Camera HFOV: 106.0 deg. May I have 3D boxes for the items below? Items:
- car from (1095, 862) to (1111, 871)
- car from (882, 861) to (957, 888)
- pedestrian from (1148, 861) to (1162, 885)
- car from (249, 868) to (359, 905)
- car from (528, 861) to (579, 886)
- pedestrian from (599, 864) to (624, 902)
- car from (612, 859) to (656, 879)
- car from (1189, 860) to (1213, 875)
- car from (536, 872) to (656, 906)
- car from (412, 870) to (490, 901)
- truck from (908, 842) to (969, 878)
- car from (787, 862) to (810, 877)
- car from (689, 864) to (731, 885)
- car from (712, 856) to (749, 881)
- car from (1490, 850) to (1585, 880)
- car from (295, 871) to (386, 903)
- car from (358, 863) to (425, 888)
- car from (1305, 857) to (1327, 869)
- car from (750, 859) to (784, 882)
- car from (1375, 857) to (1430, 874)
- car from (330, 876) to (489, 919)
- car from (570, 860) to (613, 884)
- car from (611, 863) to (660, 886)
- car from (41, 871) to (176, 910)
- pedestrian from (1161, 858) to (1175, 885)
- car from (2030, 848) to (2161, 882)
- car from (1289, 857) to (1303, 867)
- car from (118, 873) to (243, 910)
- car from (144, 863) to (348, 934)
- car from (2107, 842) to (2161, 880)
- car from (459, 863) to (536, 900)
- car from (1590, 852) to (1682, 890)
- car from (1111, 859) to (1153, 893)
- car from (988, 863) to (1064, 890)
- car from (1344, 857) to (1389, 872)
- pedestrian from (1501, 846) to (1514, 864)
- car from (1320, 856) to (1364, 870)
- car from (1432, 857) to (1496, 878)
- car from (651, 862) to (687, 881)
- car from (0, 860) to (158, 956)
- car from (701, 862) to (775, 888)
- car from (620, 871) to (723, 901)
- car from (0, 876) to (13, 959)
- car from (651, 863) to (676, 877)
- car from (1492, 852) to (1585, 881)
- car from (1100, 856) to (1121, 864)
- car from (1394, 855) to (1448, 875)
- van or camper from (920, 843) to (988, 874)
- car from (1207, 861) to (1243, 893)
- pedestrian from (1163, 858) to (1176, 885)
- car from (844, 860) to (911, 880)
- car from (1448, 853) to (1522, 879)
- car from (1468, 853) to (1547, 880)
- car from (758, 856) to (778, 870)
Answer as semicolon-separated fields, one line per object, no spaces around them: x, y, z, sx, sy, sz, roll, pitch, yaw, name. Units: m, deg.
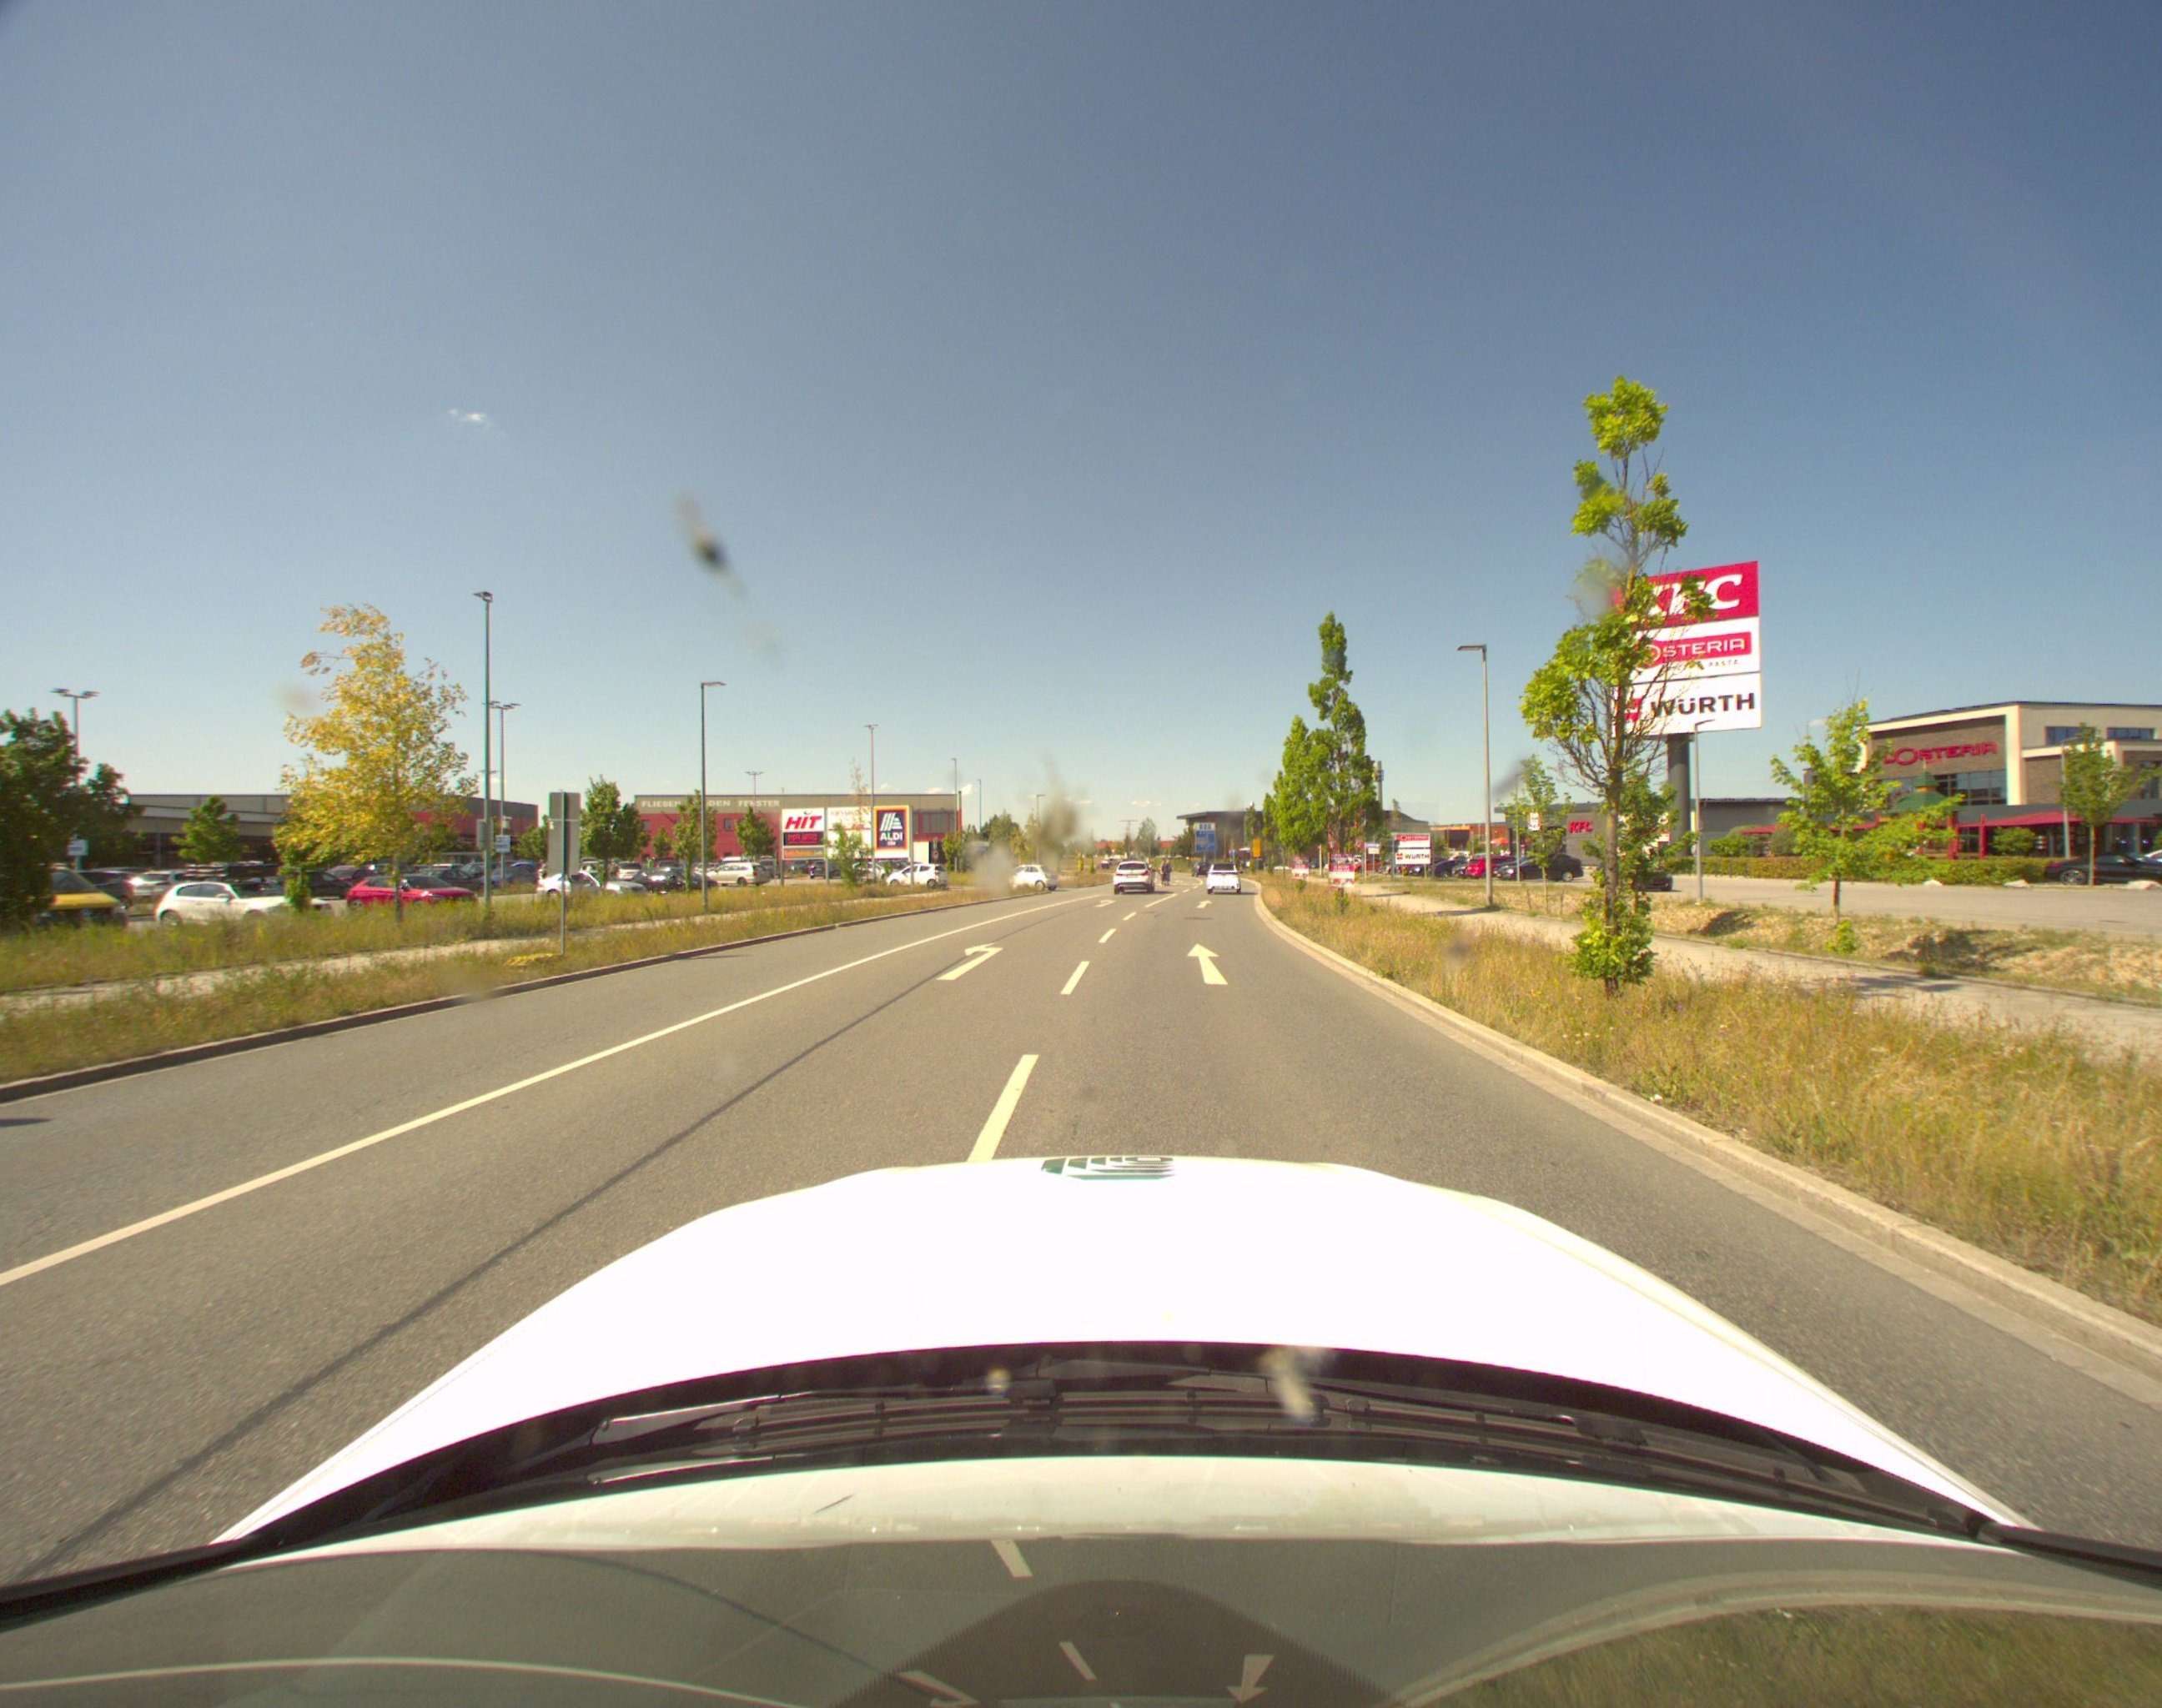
3.794;2.072;139.622;1.993;1.440;3.987;-1;0;-10;car
-9.735;1.226;49.155;3.960;1.547;1.924;-1;-1;12;car
4.529;1.161;50.020;0.788;1.470;0.951;0;-1;10;pedestrian
-37.330;1.516;39.291;1.712;1.561;4.338;-1;0;-11;car
-38.985;1.404;60.309;1.915;1.726;4.358;-1;-1;-15;car
-21.143;1.314;36.674;0.760;1.695;0.580;-1;-1;10;pedestrian
-36.881;1.235;67.339;1.832;1.582;4.367;-1;-1;-10;car
12.076;1.370;82.075;1.613;1.434;3.787;-1;-1;-3;car
-21.011;1.523;35.357;4.119;1.348;1.941;-1;0;9;car
-35.915;1.739;46.543;1.712;1.581;4.338;-1;0;-11;car
-14.197;0.591;82.006;2.296;3.464;7.535;-1;-1;23;truck
-29.737;1.643;85.846;1.833;1.562;4.363;-1;-1;-12;car
-28.165;1.496;61.907;1.832;1.512;4.367;-1;-1;-10;car
-29.132;1.193;67.871;1.832;2.065;4.367;-1;-1;-10;car
29.298;0.690;52.407;4.959;1.734;1.942;-2;0;4;car
-41.055;1.771;45.269;1.712;1.575;4.338;-1;0;-11;car
-49.004;1.515;57.995;1.914;1.718;4.361;-1;-1;-14;car
30.599;1.165;106.050;1.681;1.462;4.195;-2;-1;32;car
-26.450;1.351;68.729;1.832;1.823;4.367;-1;-1;-10;car
30.820;1.090;78.154;4.541;1.490;1.868;-2;0;-1;car
-23.016;1.478;27.985;4.119;1.348;1.941;-1;0;9;car
-36.468;1.328;60.806;1.918;1.718;4.352;0;-1;-20;car
-33.621;1.526;61.570;1.911;1.617;4.367;-1;-1;-10;car
-45.500;1.659;38.262;1.712;1.615;4.338;-1;0;-11;car
5.339;1.089;49.798;0.804;1.628;0.868;0;-1;10;pedestrian
38.229;0.394;29.890;1.655;1.212;4.105;-1;-1;-22;car
34.444;1.261;130.216;1.778;1.604;4.020;-1;-1;19;car
-42.718;1.718;38.781;1.712;1.544;4.338;-1;0;-11;car
-23.648;1.238;23.144;4.121;1.861;1.937;-1;0;7;car
42.884;0.239;31.150;1.703;1.471;4.201;-1;-1;-22;car
-33.493;1.526;46.920;1.712;1.986;4.816;-1;0;-11;car
23.940;0.701;35.305;1.769;1.540;4.181;-1;-1;11;car
2.498;1.039;39.306;1.902;1.547;4.231;-1;-1;4;car
-3.202;1.308;47.539;3.950;1.547;1.929;-1;-1;26;car
30.842;1.143;88.053;4.197;1.490;1.866;-1;0;-5;car
46.296;0.125;88.448;0.912;2.014;0.889;-1;-1;-8;pedestrian
30.599;1.086;95.565;4.517;1.490;1.866;-1;0;-5;car
29.555;1.044;62.856;4.365;1.449;1.802;-2;0;26;car
-39.328;1.675;77.808;1.832;1.773;4.367;-1;-1;-10;car
-24.381;1.182;18.112;5.656;1.965;2.002;-1;0;3;car
-21.845;1.329;51.881;3.959;1.547;1.847;-1;-1;13;car
-20.112;1.557;40.089;4.119;1.348;1.941;-1;0;9;car
-24.275;1.322;15.842;4.747;1.672;1.884;-1;0;3;car
-49.002;1.852;95.623;1.662;1.587;4.066;-1;-1;-12;car
27.219;0.738;48.606;4.385;1.566;1.998;-2;0;4;car
5.916;1.136;163.751;4.020;1.464;1.977;-1;0;-40;car
30.631;1.000;73.430;4.136;1.665;1.870;-2;0;3;car
-14.789;0.484;95.242;7.682;3.468;2.550;-1;-1;-6;van or camper
6.944;1.062;39.093;1.606;1.434;3.804;-1;-1;11;car
5.489;1.081;50.504;0.796;1.630;0.807;0;-1;10;pedestrian
-15.626;1.223;62.583;4.586;1.512;1.840;-1;-1;4;car
29.039;0.872;58.680;4.383;1.734;1.795;-2;0;6;car
28.987;0.846;55.481;4.382;1.734;1.795;-2;0;7;car
-37.504;1.120;97.592;1.663;1.615;4.065;-1;-1;-13;car
